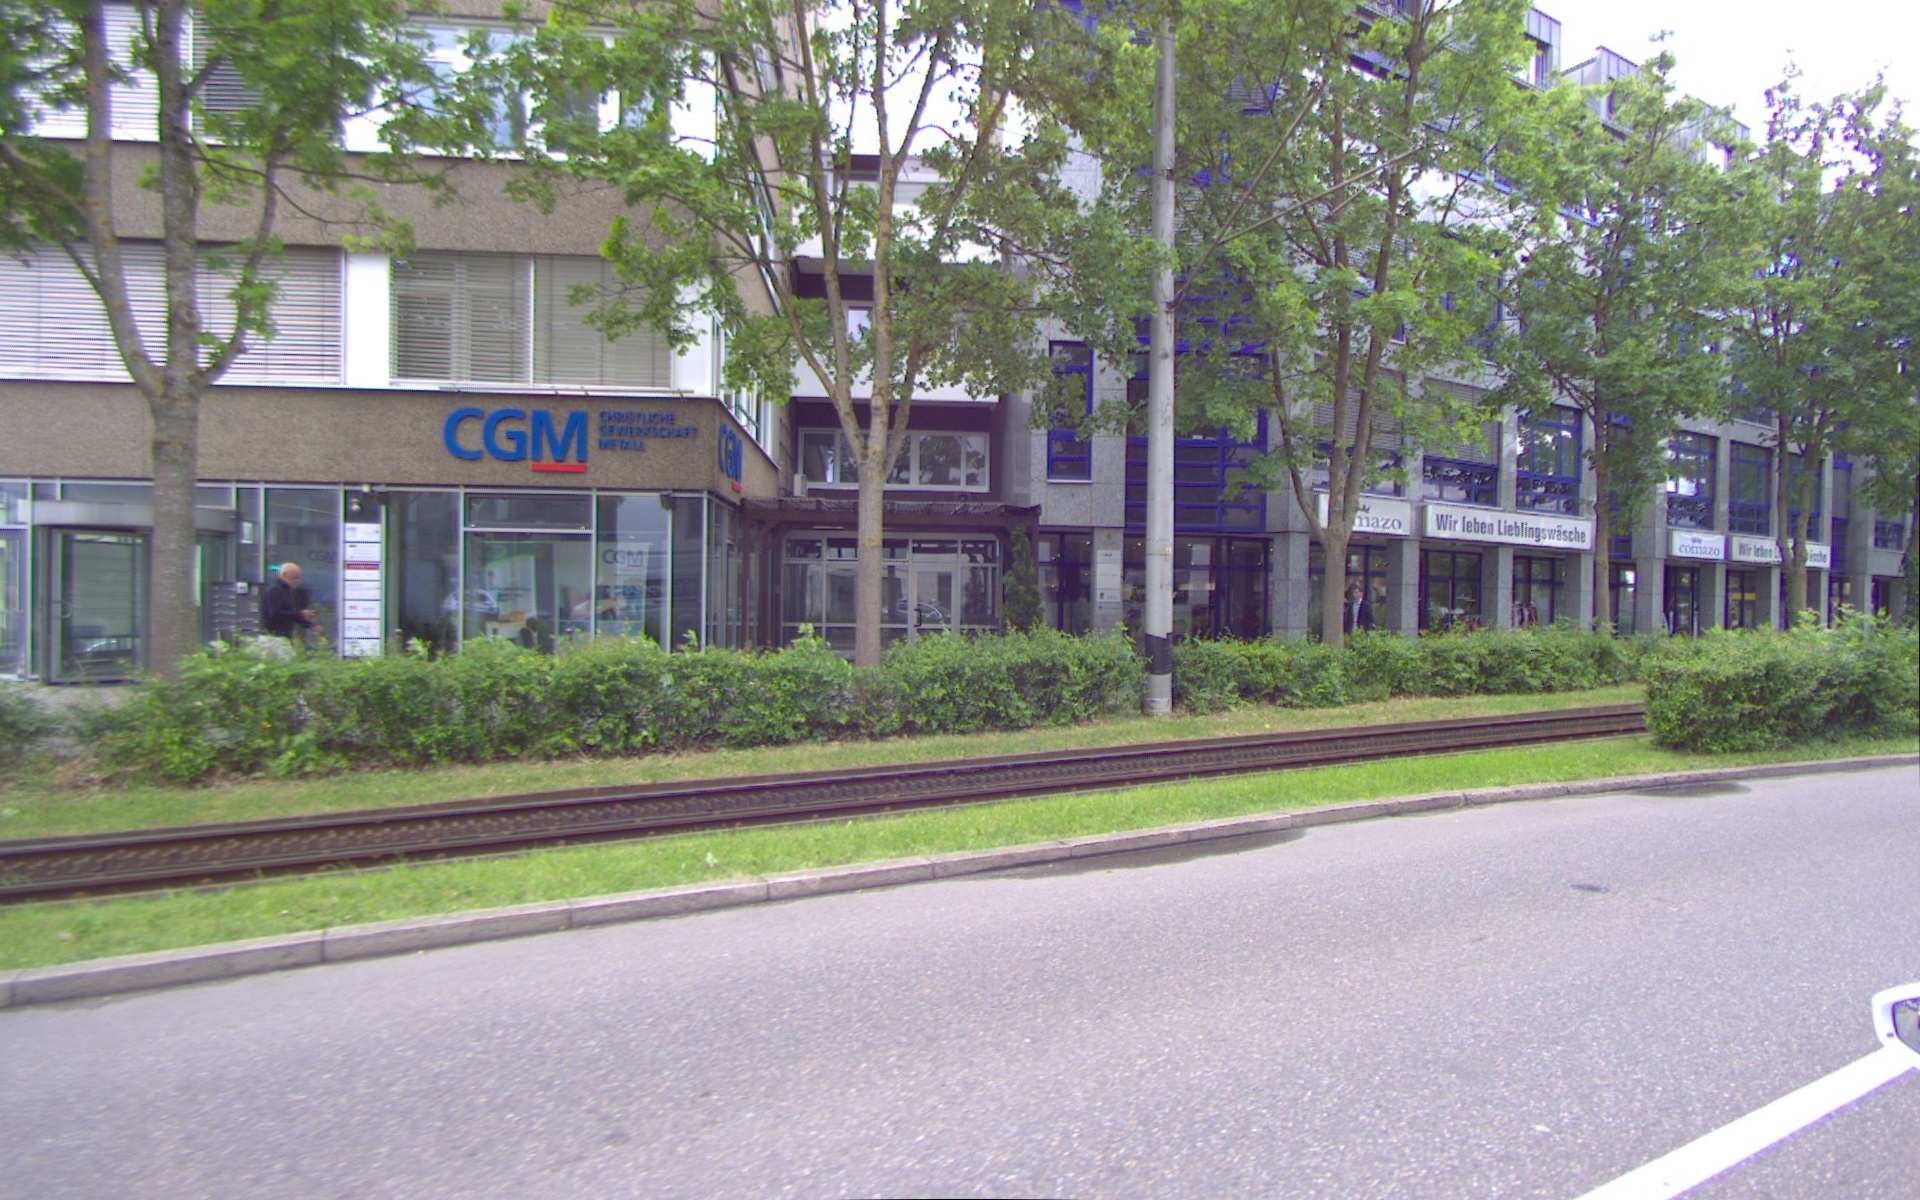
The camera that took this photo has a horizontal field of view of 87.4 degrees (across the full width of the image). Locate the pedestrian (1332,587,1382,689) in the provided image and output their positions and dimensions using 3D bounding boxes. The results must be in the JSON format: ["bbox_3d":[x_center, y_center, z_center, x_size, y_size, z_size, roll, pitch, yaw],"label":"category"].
[{"bbox_3d":[7.710,0.729,19.504,0.614,1.933,0.672,1,-2,-29],"label":"pedestrian"}]

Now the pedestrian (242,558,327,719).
[{"bbox_3d":[-7.541,0.427,11.245,0.674,1.728,0.685,1,-2,-28],"label":"pedestrian"}]

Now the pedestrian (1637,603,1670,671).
[{"bbox_3d":[21.291,1.130,30.849,0.564,2.040,0.678,1,-1,-30],"label":"pedestrian"}]
